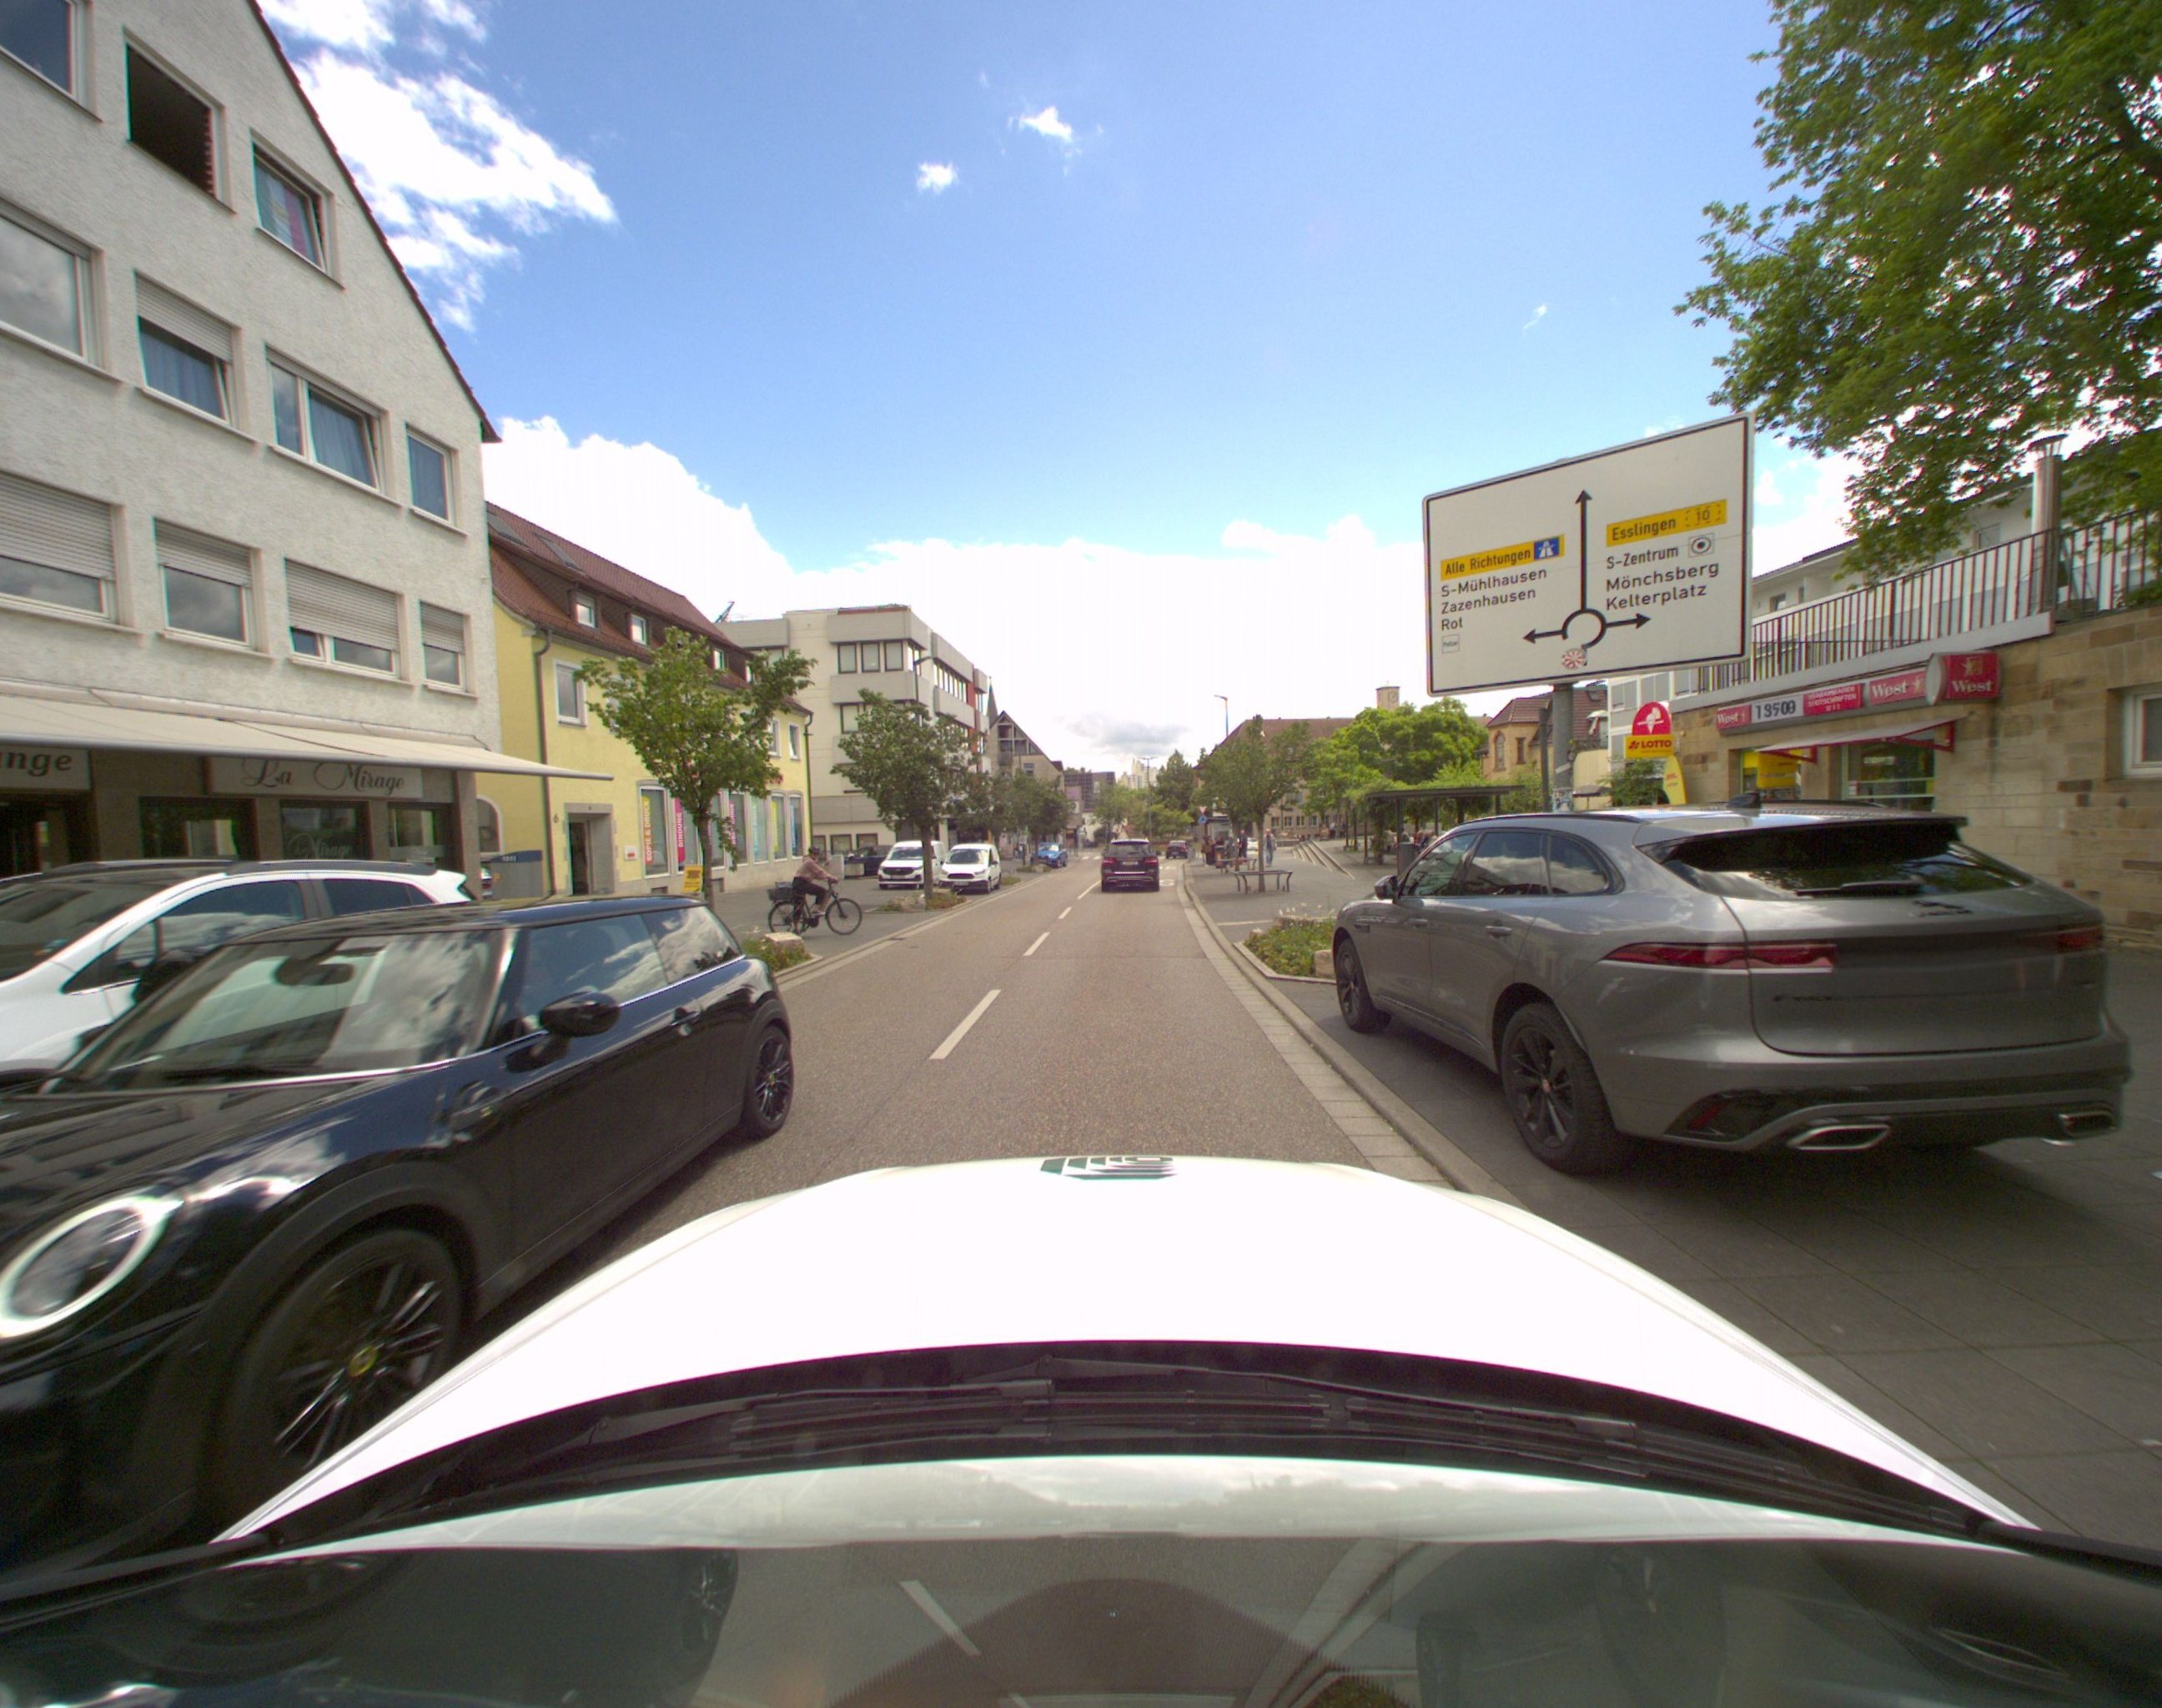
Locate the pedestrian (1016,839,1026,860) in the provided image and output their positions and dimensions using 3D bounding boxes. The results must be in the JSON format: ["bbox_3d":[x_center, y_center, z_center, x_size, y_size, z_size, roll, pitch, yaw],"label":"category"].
[{"bbox_3d":[-4.614,-0.368,62.742,0.584,1.588,0.640,-1,1,7],"label":"pedestrian"}]

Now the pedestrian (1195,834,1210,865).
[{"bbox_3d":[6.278,-0.237,42.150,0.489,1.549,0.537,-4,1,-40],"label":"pedestrian"}]

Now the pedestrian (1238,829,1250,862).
[{"bbox_3d":[8.363,-0.439,41.794,0.509,1.680,0.577,-3,1,6],"label":"pedestrian"}]

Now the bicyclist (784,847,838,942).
[{"bbox_3d":[-5.069,0.740,15.288,0.781,1.695,0.504,-3,1,-34],"label":"bicyclist"}]

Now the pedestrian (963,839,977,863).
[{"bbox_3d":[-7.525,-0.232,55.028,0.636,1.566,0.590,-3,1,35],"label":"pedestrian"}]

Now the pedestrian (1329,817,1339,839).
[{"bbox_3d":[17.475,-1.813,56.229,0.502,1.508,0.453,-3,2,-9],"label":"pedestrian"}]

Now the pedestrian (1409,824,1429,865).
[{"bbox_3d":[11.440,-0.325,27.565,0.495,1.320,0.526,-2,3,10],"label":"pedestrian"}]

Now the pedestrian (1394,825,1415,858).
[{"bbox_3d":[13.021,-0.515,32.809,0.620,1.307,0.547,-3,1,10],"label":"pedestrian"}]

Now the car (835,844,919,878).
[{"bbox_3d":[-9.802,0.313,39.281,3.617,1.558,1.668,-1,1,-1],"label":"car"}]

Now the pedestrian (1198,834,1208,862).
[{"bbox_3d":[7.133,-0.344,47.610,0.383,1.619,0.471,-4,1,21],"label":"pedestrian"}]

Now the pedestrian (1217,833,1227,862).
[{"bbox_3d":[7.715,-0.355,44.505,0.392,1.566,0.352,-3,1,-1],"label":"pedestrian"}]

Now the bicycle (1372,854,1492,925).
[{"bbox_3d":[5.497,0.541,12.774,1.723,0.996,0.345,-3,0,-4],"label":"bicycle"}]

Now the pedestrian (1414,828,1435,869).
[{"bbox_3d":[11.350,-0.192,26.930,0.492,1.320,0.577,-2,3,9],"label":"pedestrian"}]

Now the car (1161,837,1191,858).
[{"bbox_3d":[7.467,-0.545,63.935,2.040,1.588,4.386,1,1,10],"label":"car"}]

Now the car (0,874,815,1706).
[{"bbox_3d":[-2.566,0.871,3.294,1.600,1.388,3.631,-3,0,2],"label":"car"}]

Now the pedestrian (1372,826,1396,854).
[{"bbox_3d":[13.683,-0.628,36.795,0.679,1.269,0.762,-2,1,-37],"label":"pedestrian"}]

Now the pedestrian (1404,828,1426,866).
[{"bbox_3d":[11.577,-0.246,28.239,0.565,1.261,0.543,-2,3,10],"label":"pedestrian"}]

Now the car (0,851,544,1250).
[{"bbox_3d":[-5.272,0.824,4.517,1.658,1.646,4.137,0,0,3],"label":"car"}]

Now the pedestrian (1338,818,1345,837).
[{"bbox_3d":[18.109,-1.854,56.685,0.360,1.285,0.643,-2,2,11],"label":"pedestrian"}]

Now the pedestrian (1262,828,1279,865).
[{"bbox_3d":[8.666,-0.340,37.266,0.679,1.682,0.717,-2,1,16],"label":"pedestrian"}]

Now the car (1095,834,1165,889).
[{"bbox_3d":[1.596,0.263,28.039,2.021,1.727,4.430,-1,-1,-1],"label":"car"}]

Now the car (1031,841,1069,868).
[{"bbox_3d":[-1.941,-0.023,52.463,1.685,1.599,4.342,1,1,8],"label":"car"}]

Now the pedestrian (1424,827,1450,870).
[{"bbox_3d":[11.444,-0.170,26.199,0.612,1.320,0.587,-2,3,9],"label":"pedestrian"}]

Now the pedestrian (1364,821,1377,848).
[{"bbox_3d":[14.491,-0.986,40.833,0.563,1.323,0.548,-1,1,15],"label":"pedestrian"}]

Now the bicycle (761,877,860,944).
[{"bbox_3d":[-5.051,1.026,15.264,1.661,1.087,0.409,-4,1,-35],"label":"bicycle"}]

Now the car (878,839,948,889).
[{"bbox_3d":[-6.519,0.334,32.021,1.750,1.813,4.477,0,1,1],"label":"car"}]

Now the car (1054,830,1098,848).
[{"bbox_3d":[-0.727,-2.249,124.033,6.296,2.560,2.194,0,-2,-16],"label":"car"}]

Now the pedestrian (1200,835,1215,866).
[{"bbox_3d":[6.498,-0.195,41.849,0.508,1.549,0.490,-2,1,32],"label":"pedestrian"}]

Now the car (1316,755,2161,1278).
[{"bbox_3d":[3.056,0.532,5.059,1.921,1.724,4.575,-2,0,1],"label":"car"}]

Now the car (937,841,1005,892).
[{"bbox_3d":[-3.838,0.375,29.164,1.650,1.672,4.354,-1,1,2],"label":"car"}]

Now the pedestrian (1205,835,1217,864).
[{"bbox_3d":[7.092,-0.248,44.457,0.498,1.566,0.498,-3,1,-1],"label":"pedestrian"}]
